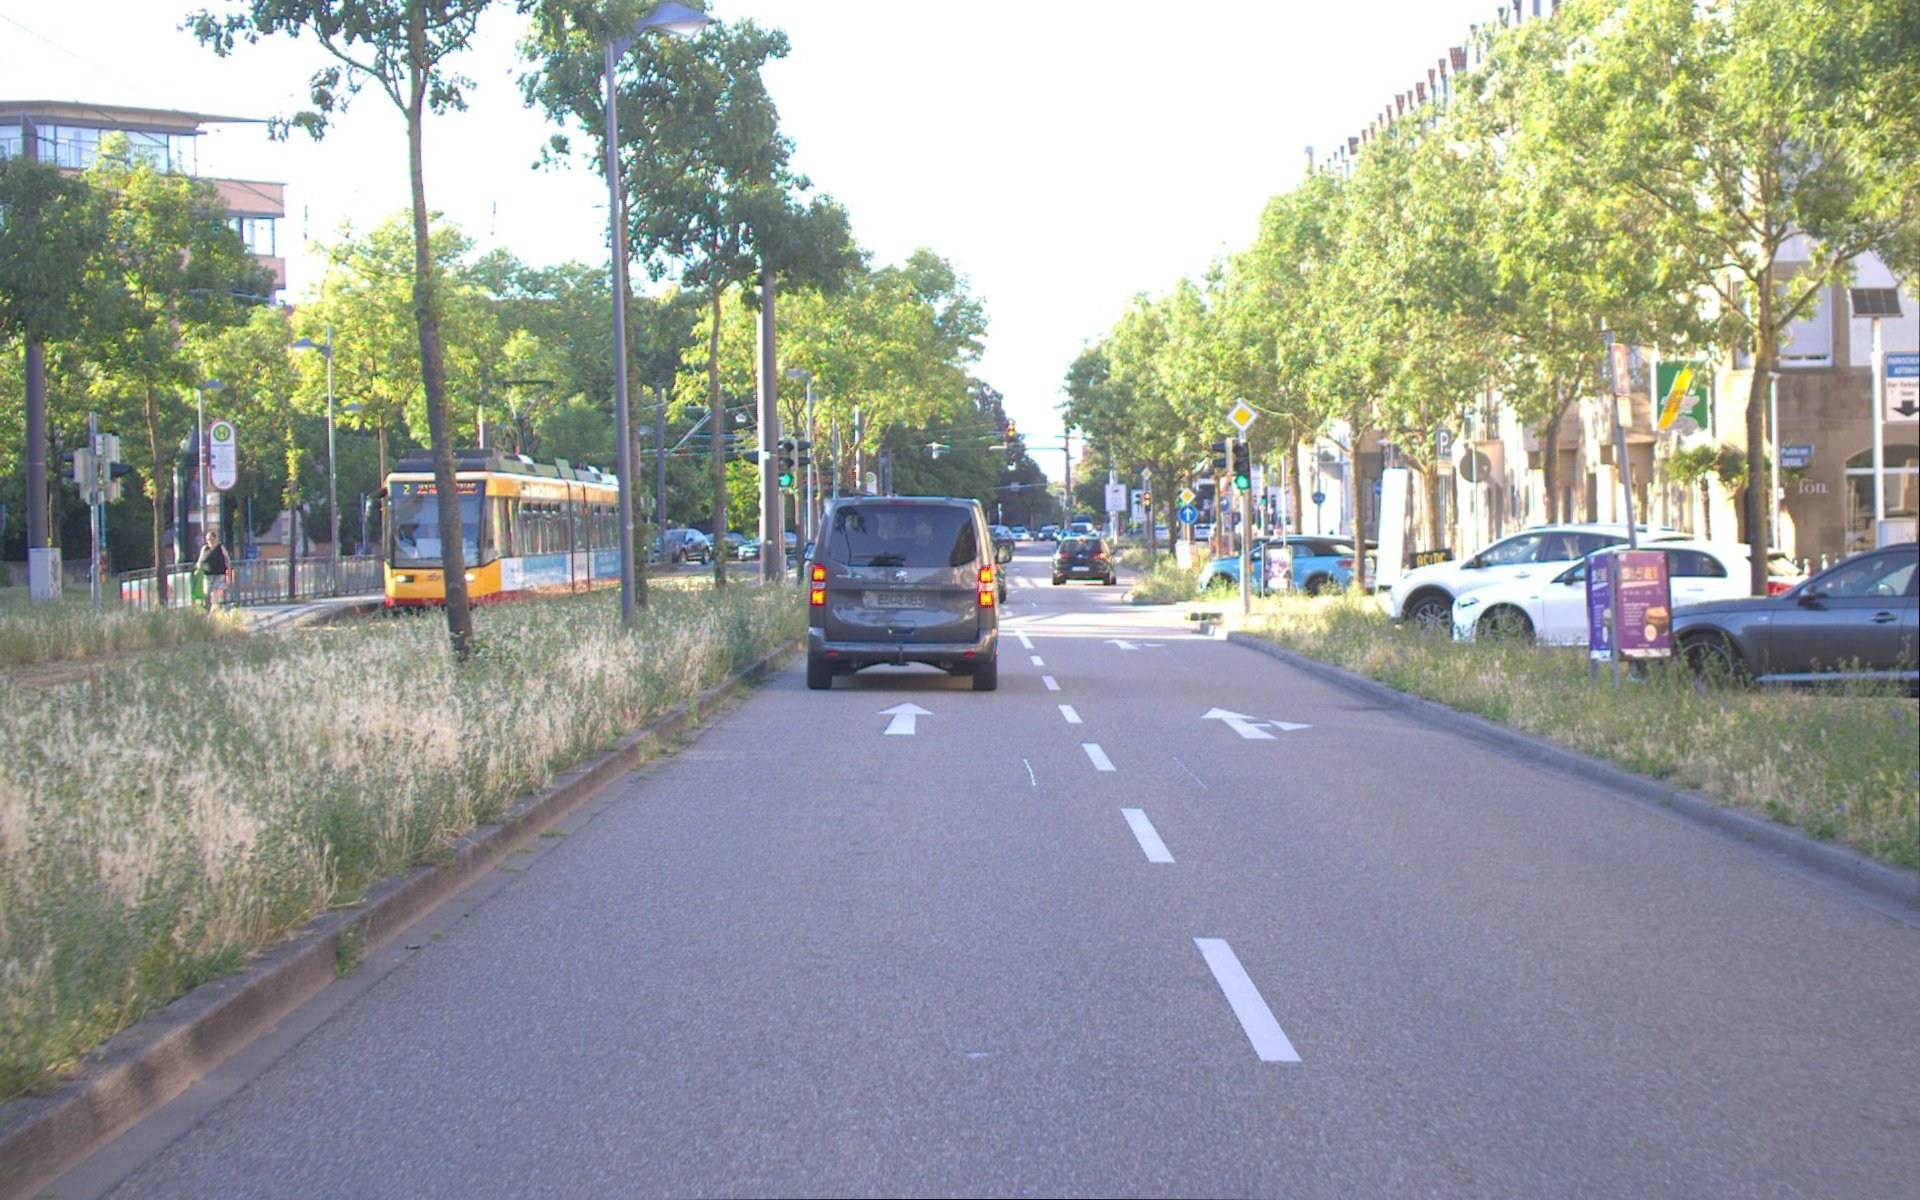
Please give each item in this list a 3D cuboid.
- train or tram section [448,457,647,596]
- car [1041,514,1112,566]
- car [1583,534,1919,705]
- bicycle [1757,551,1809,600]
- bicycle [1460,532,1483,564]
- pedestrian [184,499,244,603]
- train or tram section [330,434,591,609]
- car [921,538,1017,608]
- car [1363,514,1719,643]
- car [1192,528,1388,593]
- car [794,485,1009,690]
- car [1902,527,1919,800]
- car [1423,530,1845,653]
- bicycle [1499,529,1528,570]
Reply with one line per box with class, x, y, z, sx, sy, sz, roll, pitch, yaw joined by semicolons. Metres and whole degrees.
train or tram section;-10.619;-1.908;90.145;3.431;3.328;13.858;-1;1;0
car;3.467;-1.816;103.027;1.993;1.505;4.000;0;1;0
car;7.645;0.137;28.274;4.577;1.343;1.893;0;1;33
bicycle;15.631;-0.465;65.296;0.460;0.870;1.884;-6;0;0
bicycle;16.717;-1.701;112.409;0.483;1.002;1.746;-1;1;1
pedestrian;-14.530;-0.956;66.987;0.934;2.007;0.957;-1;1;0
train or tram section;-10.703;-1.699;75.620;3.431;3.418;15.028;-1;1;0
car;0.175;-0.630;77.473;1.993;1.505;4.001;0;1;-2
car;7.954;-0.327;47.187;4.427;1.685;1.912;1;2;36
car;7.849;-0.954;81.806;4.281;1.516;1.843;1;2;33
car;-0.523;-0.165;34.574;1.993;1.894;4.299;1;1;1
car;7.621;0.337;18.372;4.641;1.505;1.844;0;1;36
car;8.051;-0.115;41.166;4.548;1.395;2.027;0;1;31
bicycle;16.718;-1.531;103.886;0.483;1.161;1.746;-6;1;1
